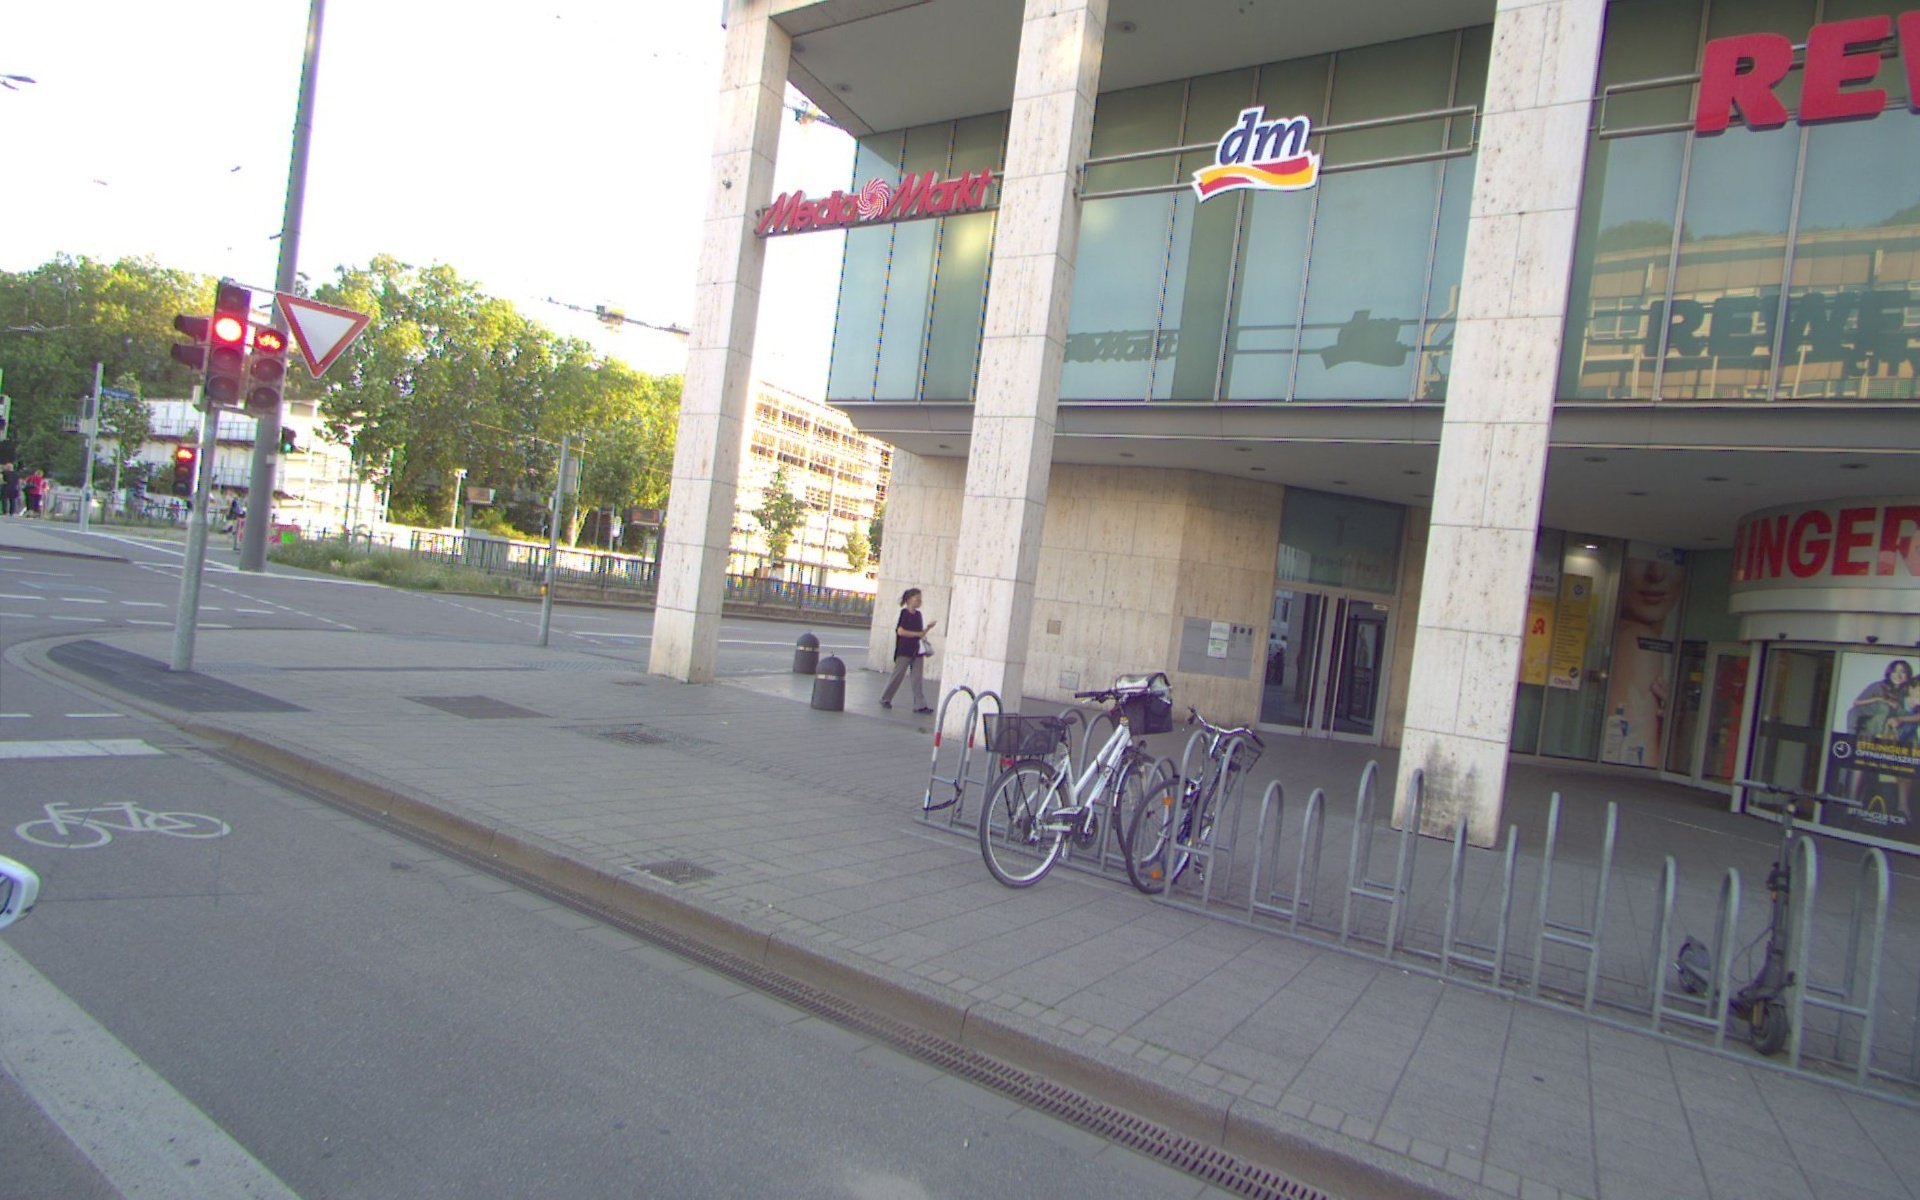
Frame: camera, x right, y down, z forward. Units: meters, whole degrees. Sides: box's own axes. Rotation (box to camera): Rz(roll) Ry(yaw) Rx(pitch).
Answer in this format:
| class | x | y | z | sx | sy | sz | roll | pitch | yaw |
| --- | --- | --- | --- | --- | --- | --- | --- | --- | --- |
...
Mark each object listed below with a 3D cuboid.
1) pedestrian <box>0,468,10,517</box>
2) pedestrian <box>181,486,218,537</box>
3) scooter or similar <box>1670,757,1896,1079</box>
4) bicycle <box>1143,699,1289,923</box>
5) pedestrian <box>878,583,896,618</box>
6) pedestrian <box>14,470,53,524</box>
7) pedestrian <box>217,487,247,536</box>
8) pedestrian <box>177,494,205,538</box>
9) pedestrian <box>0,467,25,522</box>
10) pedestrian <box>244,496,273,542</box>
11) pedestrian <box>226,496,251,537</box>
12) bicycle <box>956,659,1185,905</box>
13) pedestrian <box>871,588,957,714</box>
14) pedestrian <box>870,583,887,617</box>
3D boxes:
| class | x | y | z | sx | sy | sz | roll | pitch | yaw |
| --- | --- | --- | --- | --- | --- | --- | --- | --- | --- |
| pedestrian | -33.981 | -3.822 | 35.459 | 0.570 | 1.699 | 0.631 | 7 | 1 | -44 |
| pedestrian | -28.507 | -3.314 | 37.713 | 0.700 | 1.746 | 0.668 | 7 | 1 | 3 |
| scooter or similar | 3.983 | 1.468 | 4.959 | 0.484 | 1.214 | 1.196 | 8 | 1 | 27 |
| bicycle | 1.674 | 1.239 | 6.375 | 0.474 | 1.092 | 1.773 | 8 | 0 | 24 |
| pedestrian | -4.482 | 0.057 | 61.488 | 0.631 | 2.039 | 0.626 | 8 | 1 | 28 |
| pedestrian | -32.683 | -3.637 | 35.492 | 0.696 | 1.756 | 0.843 | 8 | 1 | 44 |
| pedestrian | -27.816 | -3.380 | 38.437 | 0.708 | 1.746 | 0.660 | 7 | 1 | -41 |
| pedestrian | -29.481 | -3.217 | 38.547 | 0.527 | 1.612 | 0.571 | 8 | 1 | 32 |
| pedestrian | -32.793 | -3.642 | 34.569 | 0.803 | 1.814 | 0.790 | 7 | 1 | -44 |
| pedestrian | -28.394 | -3.280 | 40.732 | 0.659 | 1.746 | 0.709 | 7 | 1 | -23 |
| pedestrian | -28.107 | -3.253 | 39.180 | 0.672 | 1.459 | 0.707 | 7 | 1 | -36 |
| bicycle | 0.700 | 1.005 | 5.927 | 0.540 | 1.198 | 1.479 | 8 | 1 | 36 |
| pedestrian | -0.644 | 0.728 | 14.223 | 0.696 | 1.659 | 0.791 | 8 | 1 | 32 |
| pedestrian | -5.012 | 0.004 | 61.758 | 0.559 | 2.039 | 0.575 | 8 | 1 | 29 |
